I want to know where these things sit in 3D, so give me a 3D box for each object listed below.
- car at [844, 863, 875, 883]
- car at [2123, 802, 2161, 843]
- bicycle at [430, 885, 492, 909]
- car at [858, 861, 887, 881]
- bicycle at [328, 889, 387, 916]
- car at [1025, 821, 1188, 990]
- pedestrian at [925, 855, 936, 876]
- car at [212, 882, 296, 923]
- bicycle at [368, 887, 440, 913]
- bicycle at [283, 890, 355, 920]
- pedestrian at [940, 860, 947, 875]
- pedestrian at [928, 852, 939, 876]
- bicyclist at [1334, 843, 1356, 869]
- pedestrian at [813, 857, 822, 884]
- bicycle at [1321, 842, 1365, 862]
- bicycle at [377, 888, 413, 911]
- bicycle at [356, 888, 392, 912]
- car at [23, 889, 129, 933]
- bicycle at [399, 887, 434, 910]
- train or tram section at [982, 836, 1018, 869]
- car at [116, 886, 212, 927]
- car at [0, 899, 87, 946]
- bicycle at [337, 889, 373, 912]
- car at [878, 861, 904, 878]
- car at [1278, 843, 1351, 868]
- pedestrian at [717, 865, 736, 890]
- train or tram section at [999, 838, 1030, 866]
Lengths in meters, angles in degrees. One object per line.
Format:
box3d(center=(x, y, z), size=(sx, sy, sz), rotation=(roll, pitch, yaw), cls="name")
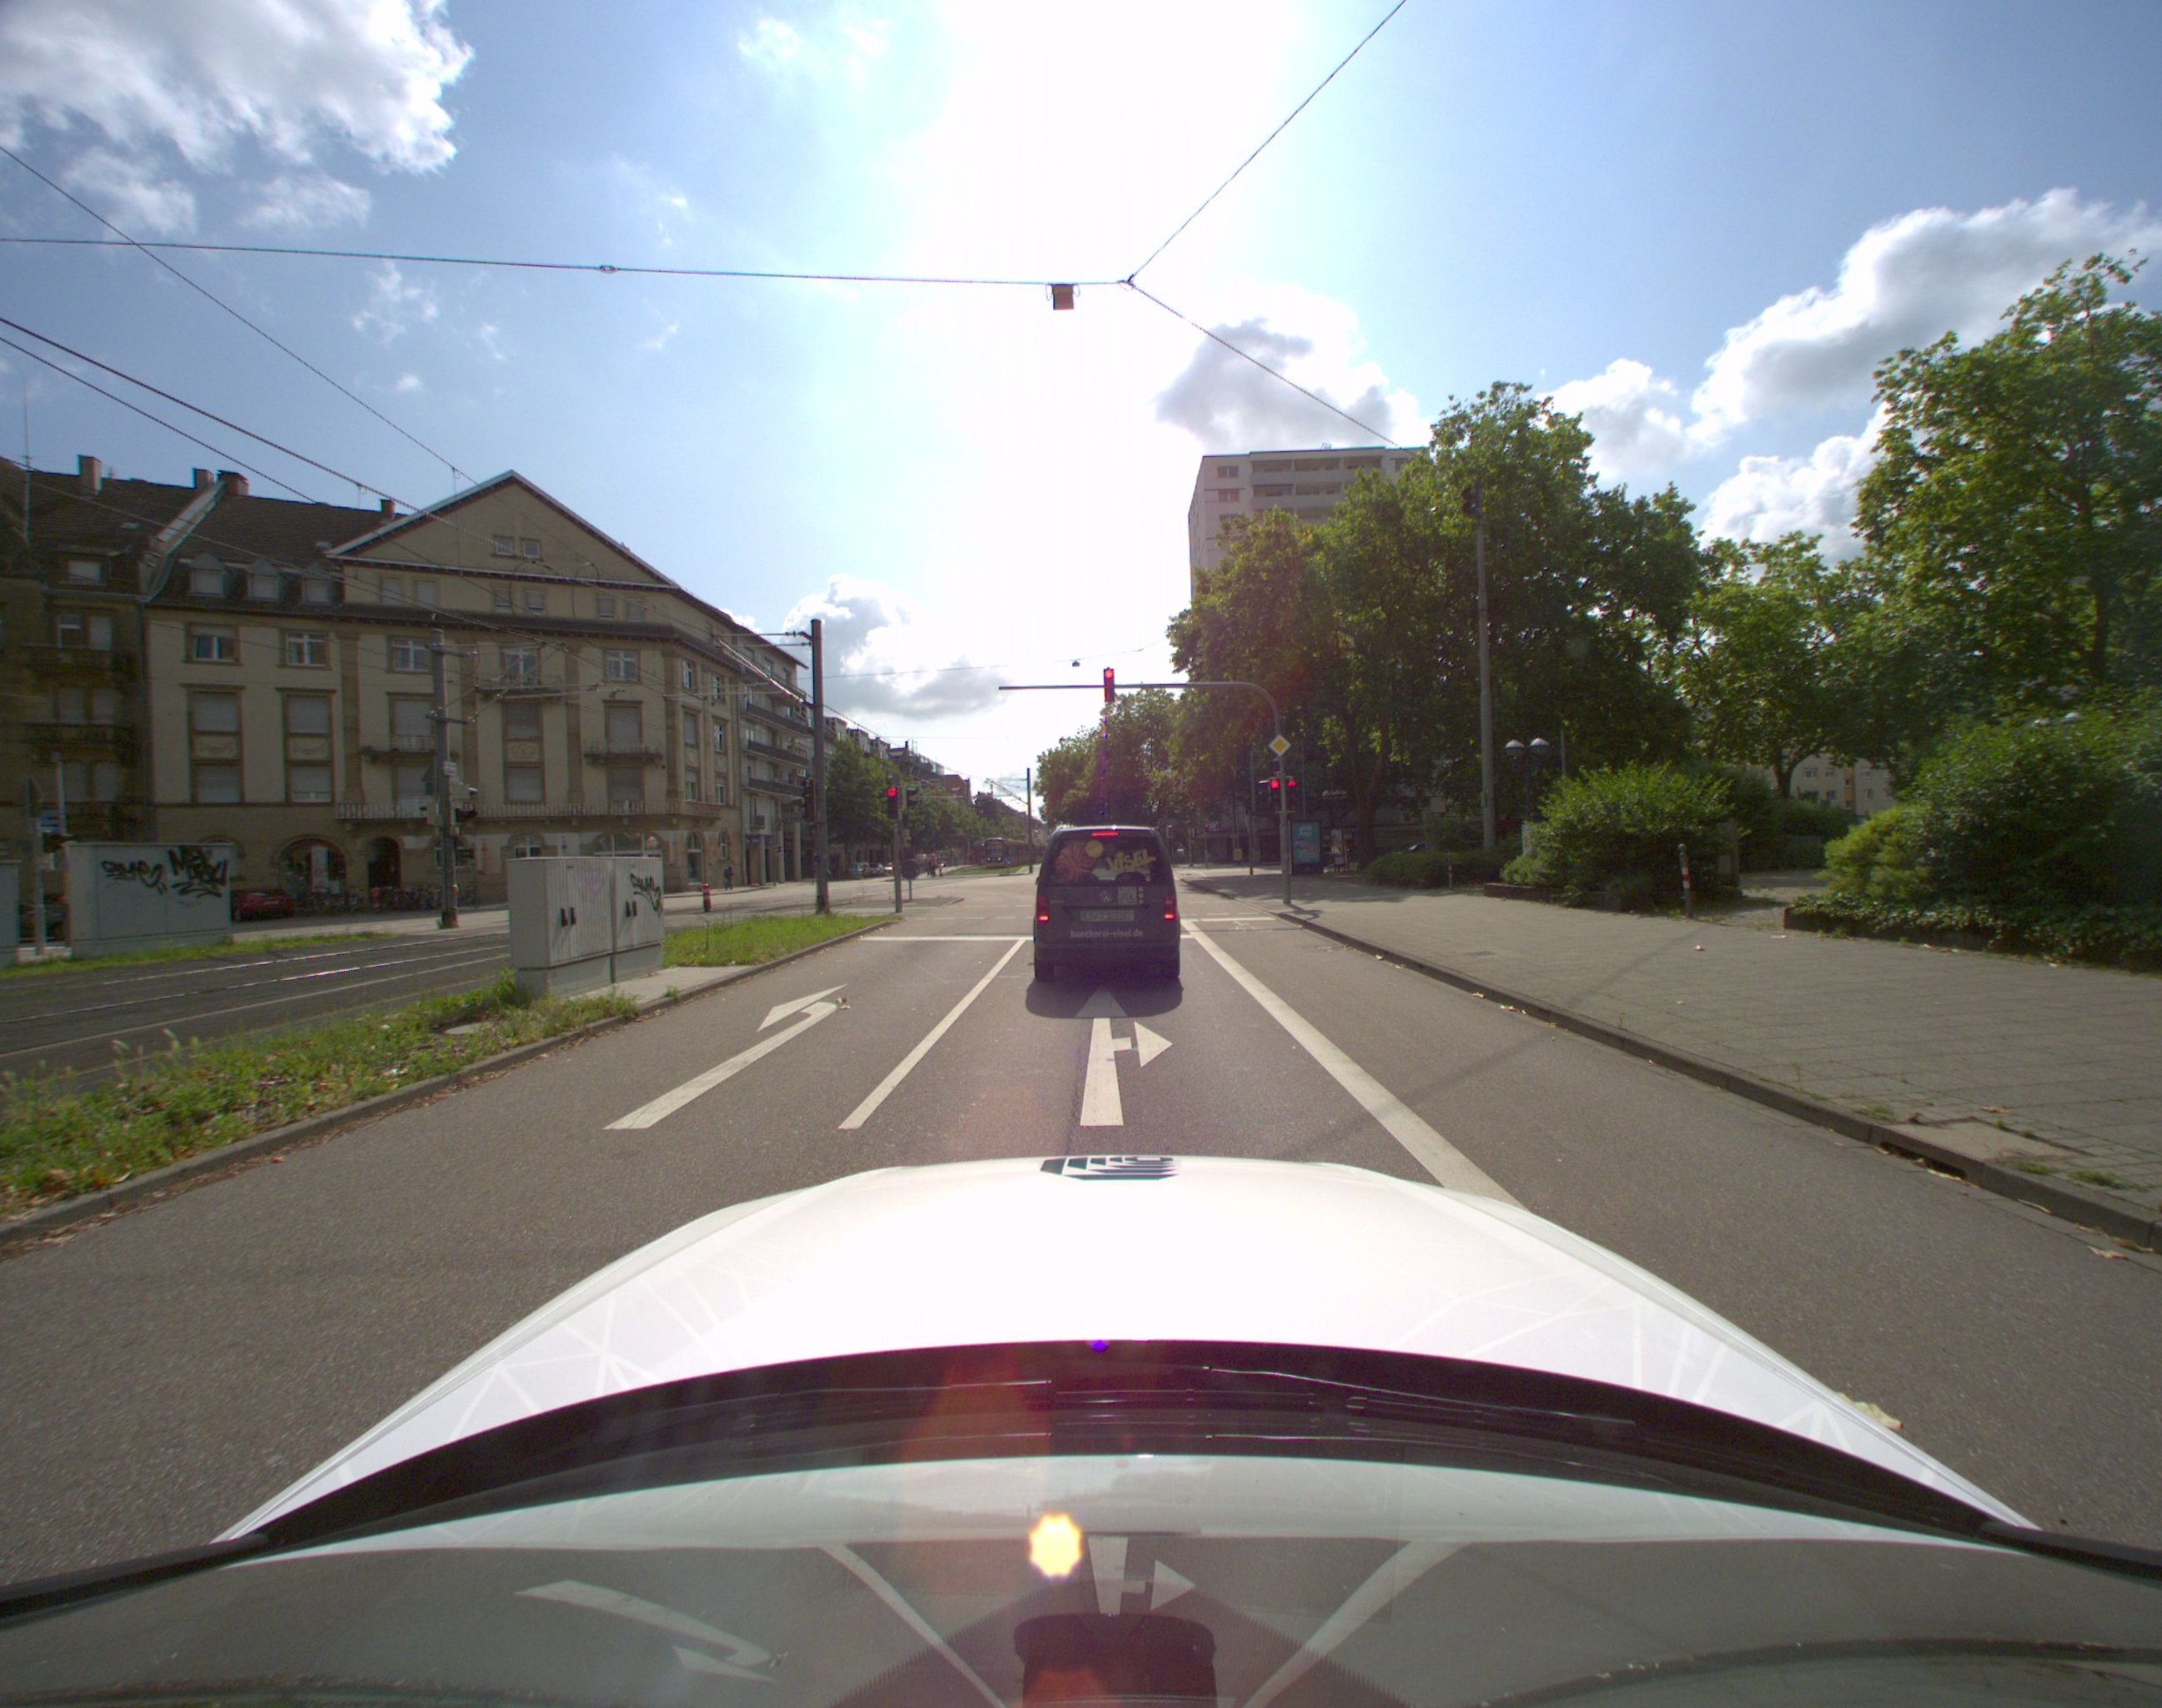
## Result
box3d(center=(-23.609, 2.020, 87.059), size=(1.986, 2.013, 4.002), rotation=(-3, 0, 2), cls="car")
box3d(center=(47.013, -1.406, 33.746), size=(4.661, 1.706, 2.194), rotation=(-3, 0, 3), cls="car")
box3d(center=(-31.919, 2.194, 41.976), size=(0.797, 1.053, 2.576), rotation=(-3, 0, 14), cls="bicycle")
box3d(center=(-23.442, 1.881, 91.792), size=(1.986, 2.013, 4.002), rotation=(-3, 0, 2), cls="car")
box3d(center=(-33.981, 2.248, 38.280), size=(1.985, 1.114, 0.482), rotation=(-3, 0, -35), cls="bicycle")
box3d(center=(0.339, 0.551, 10.557), size=(1.744, 1.808, 3.476), rotation=(-1, 0, 2), cls="car")
box3d(center=(-12.063, 0.915, 65.369), size=(0.657, 1.685, 0.656), rotation=(-2, 0, 2), cls="pedestrian")
box3d(center=(-38.429, 2.230, 37.823), size=(3.948, 1.674, 2.013), rotation=(-2, 0, 34), cls="car")
box3d(center=(-32.924, 2.225, 39.675), size=(2.571, 1.053, 0.676), rotation=(-3, 0, -26), cls="bicycle")
box3d(center=(-36.360, 2.431, 38.857), size=(3.283, 1.253, 1.003), rotation=(-3, 0, 18), cls="bicycle")
box3d(center=(-10.439, 1.021, 61.819), size=(0.462, 1.144, 0.435), rotation=(-2, 0, 2), cls="pedestrian")
box3d(center=(-11.151, 0.785, 61.661), size=(0.657, 1.784, 0.661), rotation=(-2, 0, 2), cls="pedestrian")
box3d(center=(15.615, 0.104, 48.203), size=(0.994, 1.511, 0.780), rotation=(-2, 0, -1), cls="bicyclist")
box3d(center=(-19.946, 1.280, 61.555), size=(0.476, 2.013, 0.419), rotation=(-3, 0, -4), cls="pedestrian")
box3d(center=(15.473, -0.114, 48.092), size=(2.295, 1.048, 0.896), rotation=(-2, 0, -2), cls="bicycle")
box3d(center=(-34.395, 2.258, 40.846), size=(0.808, 1.053, 2.543), rotation=(-3, 0, -27), cls="bicycle")
box3d(center=(-35.149, 2.274, 40.506), size=(0.744, 1.053, 2.543), rotation=(-3, 0, -27), cls="bicycle")
box3d(center=(-43.680, 2.463, 35.412), size=(3.950, 1.673, 2.012), rotation=(-2, 0, 26), cls="car")
box3d(center=(-33.628, 2.241, 41.243), size=(0.808, 1.053, 2.543), rotation=(-3, 0, -27), cls="bicycle")
box3d(center=(-9.120, -0.186, 93.361), size=(2.232, 3.331, 12.978), rotation=(-3, 0, 2), cls="train or tram section")
box3d(center=(-41.437, 2.369, 36.804), size=(3.950, 1.639, 1.813), rotation=(-2, 0, 26), cls="car")
box3d(center=(-37.075, 2.381, 27.227), size=(4.574, 1.436, 1.694), rotation=(-3, 0, -22), cls="car")
box3d(center=(-36.081, 2.295, 40.491), size=(0.744, 1.053, 2.343), rotation=(-3, 0, -27), cls="bicycle")
box3d(center=(-23.353, 1.899, 100.303), size=(1.986, 2.013, 4.002), rotation=(-3, 0, 2), cls="car")
box3d(center=(15.288, 0.085, 53.342), size=(4.499, 1.390, 1.694), rotation=(-3, 0, -22), cls="car")
box3d(center=(-23.375, 1.544, 53.674), size=(0.685, 1.596, 0.867), rotation=(-3, 0, 24), cls="pedestrian")
box3d(center=(-8.592, -0.236, 106.831), size=(2.232, 3.331, 14.020), rotation=(-3, 0, 2), cls="train or tram section")
